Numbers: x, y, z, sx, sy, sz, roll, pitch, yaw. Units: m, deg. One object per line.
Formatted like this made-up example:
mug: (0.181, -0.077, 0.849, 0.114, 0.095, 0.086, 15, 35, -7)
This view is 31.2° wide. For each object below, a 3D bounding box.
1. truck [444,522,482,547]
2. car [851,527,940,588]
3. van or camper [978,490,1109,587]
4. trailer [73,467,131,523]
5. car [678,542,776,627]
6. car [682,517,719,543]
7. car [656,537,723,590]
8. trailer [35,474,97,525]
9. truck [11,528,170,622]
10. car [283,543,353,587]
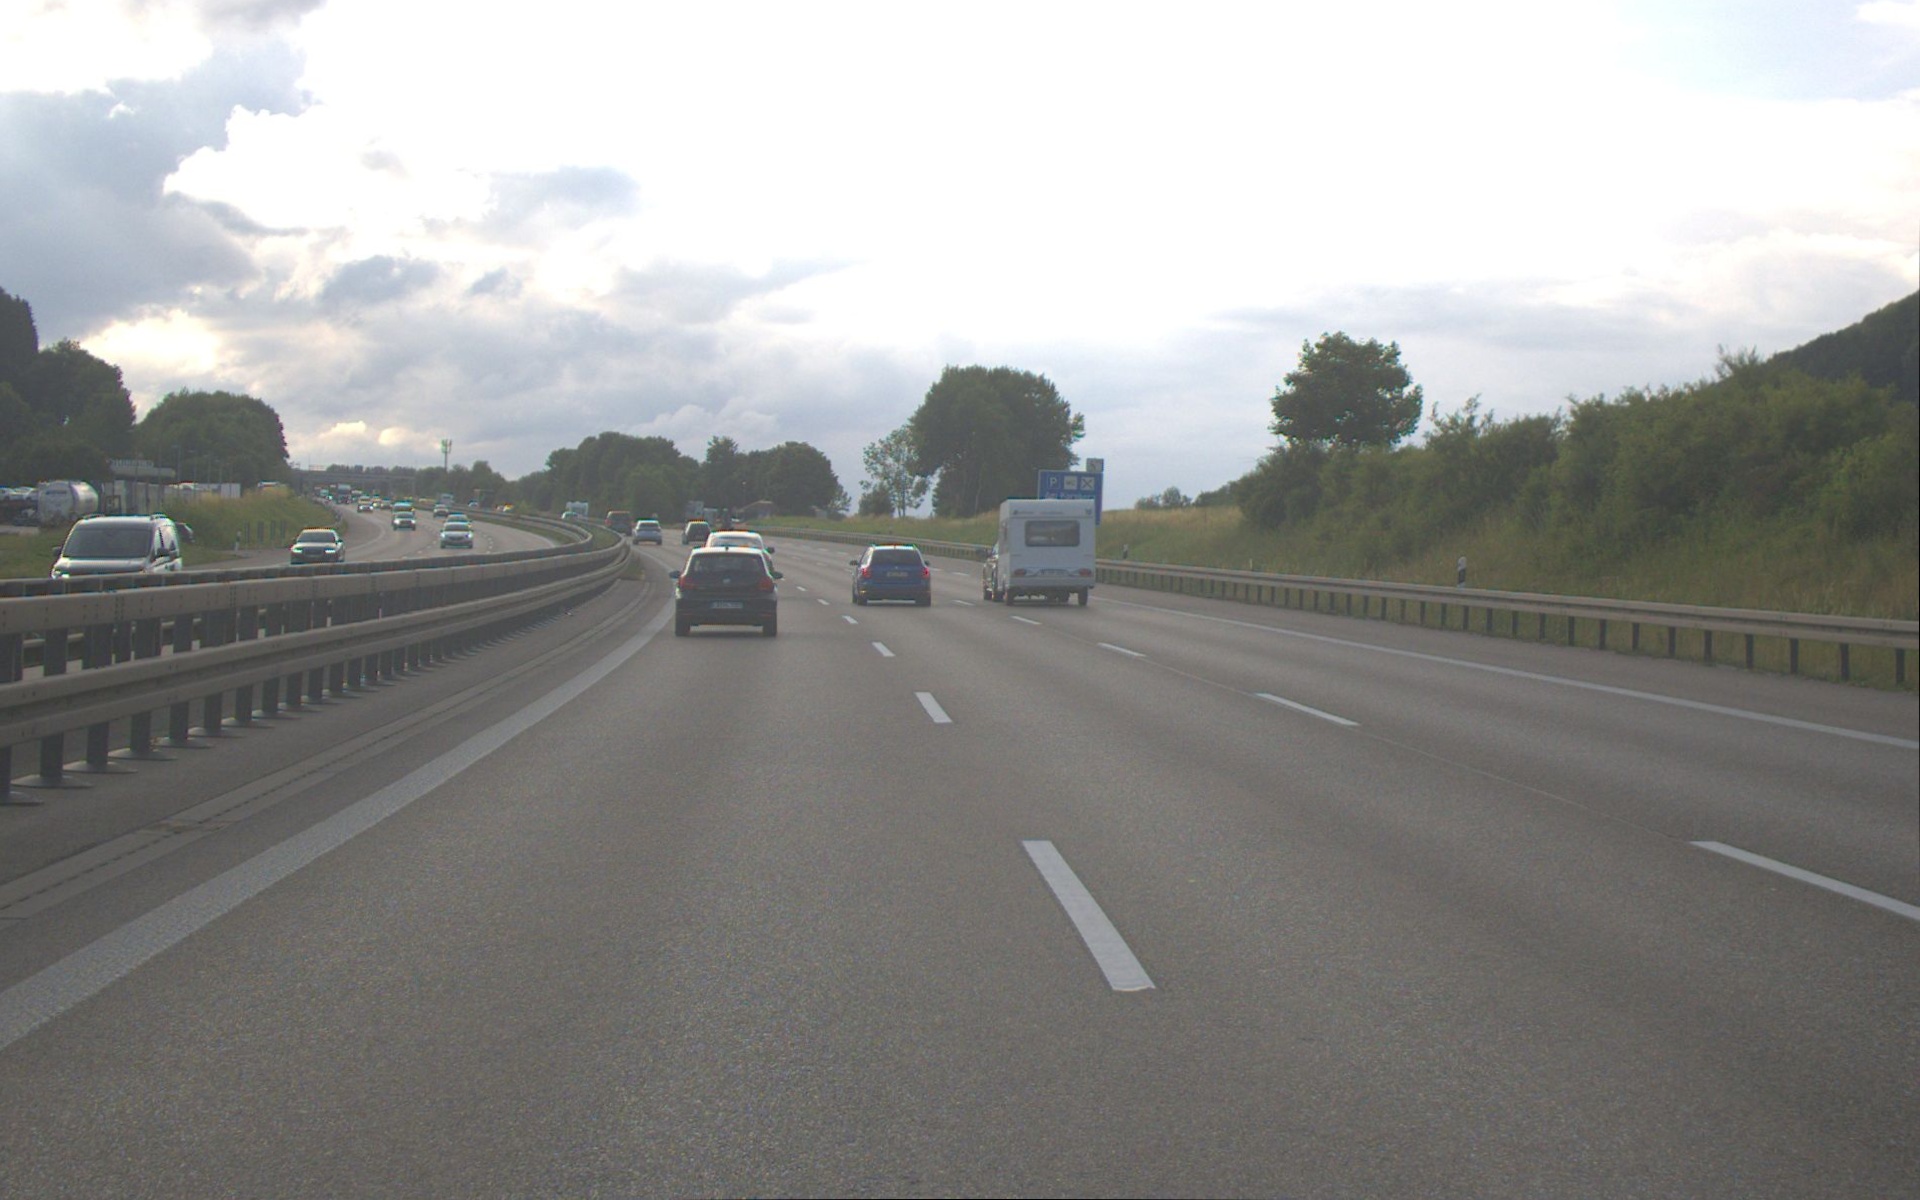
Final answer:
truck: (-28.169, -3.711, 194.868, 1.993, 1.360, 4.647, 0, 1, -6)
car: (-1.564, -1.035, 82.437, 1.766, 1.428, 4.001, -1, 1, -6)
van or camper: (1.961, -1.461, 83.054, 2.547, 2.232, 5.330, 0, 0, -5)
trailer: (-59.845, -7.279, 240.044, 2.876, 3.683, 13.680, -1, 1, -10)
car: (-3.814, -0.266, 56.678, 1.538, 1.343, 3.677, 1, 0, -3)
car: (-16.930, -4.557, 224.534, 1.957, 1.568, 4.000, 1, 0, 2)
car: (-7.265, -0.996, 92.166, 1.565, 1.375, 4.001, -1, 1, -8)
trailer: (-56.083, -6.256, 215.949, 2.578, 2.844, 12.266, 1, 0, -9)
truck: (-15.651, -0.479, 62.104, 1.993, 1.589, 4.847, -1, 1, -5)
car: (-25.214, -1.365, 135.073, 1.993, 1.481, 3.999, -1, -3, 0)
